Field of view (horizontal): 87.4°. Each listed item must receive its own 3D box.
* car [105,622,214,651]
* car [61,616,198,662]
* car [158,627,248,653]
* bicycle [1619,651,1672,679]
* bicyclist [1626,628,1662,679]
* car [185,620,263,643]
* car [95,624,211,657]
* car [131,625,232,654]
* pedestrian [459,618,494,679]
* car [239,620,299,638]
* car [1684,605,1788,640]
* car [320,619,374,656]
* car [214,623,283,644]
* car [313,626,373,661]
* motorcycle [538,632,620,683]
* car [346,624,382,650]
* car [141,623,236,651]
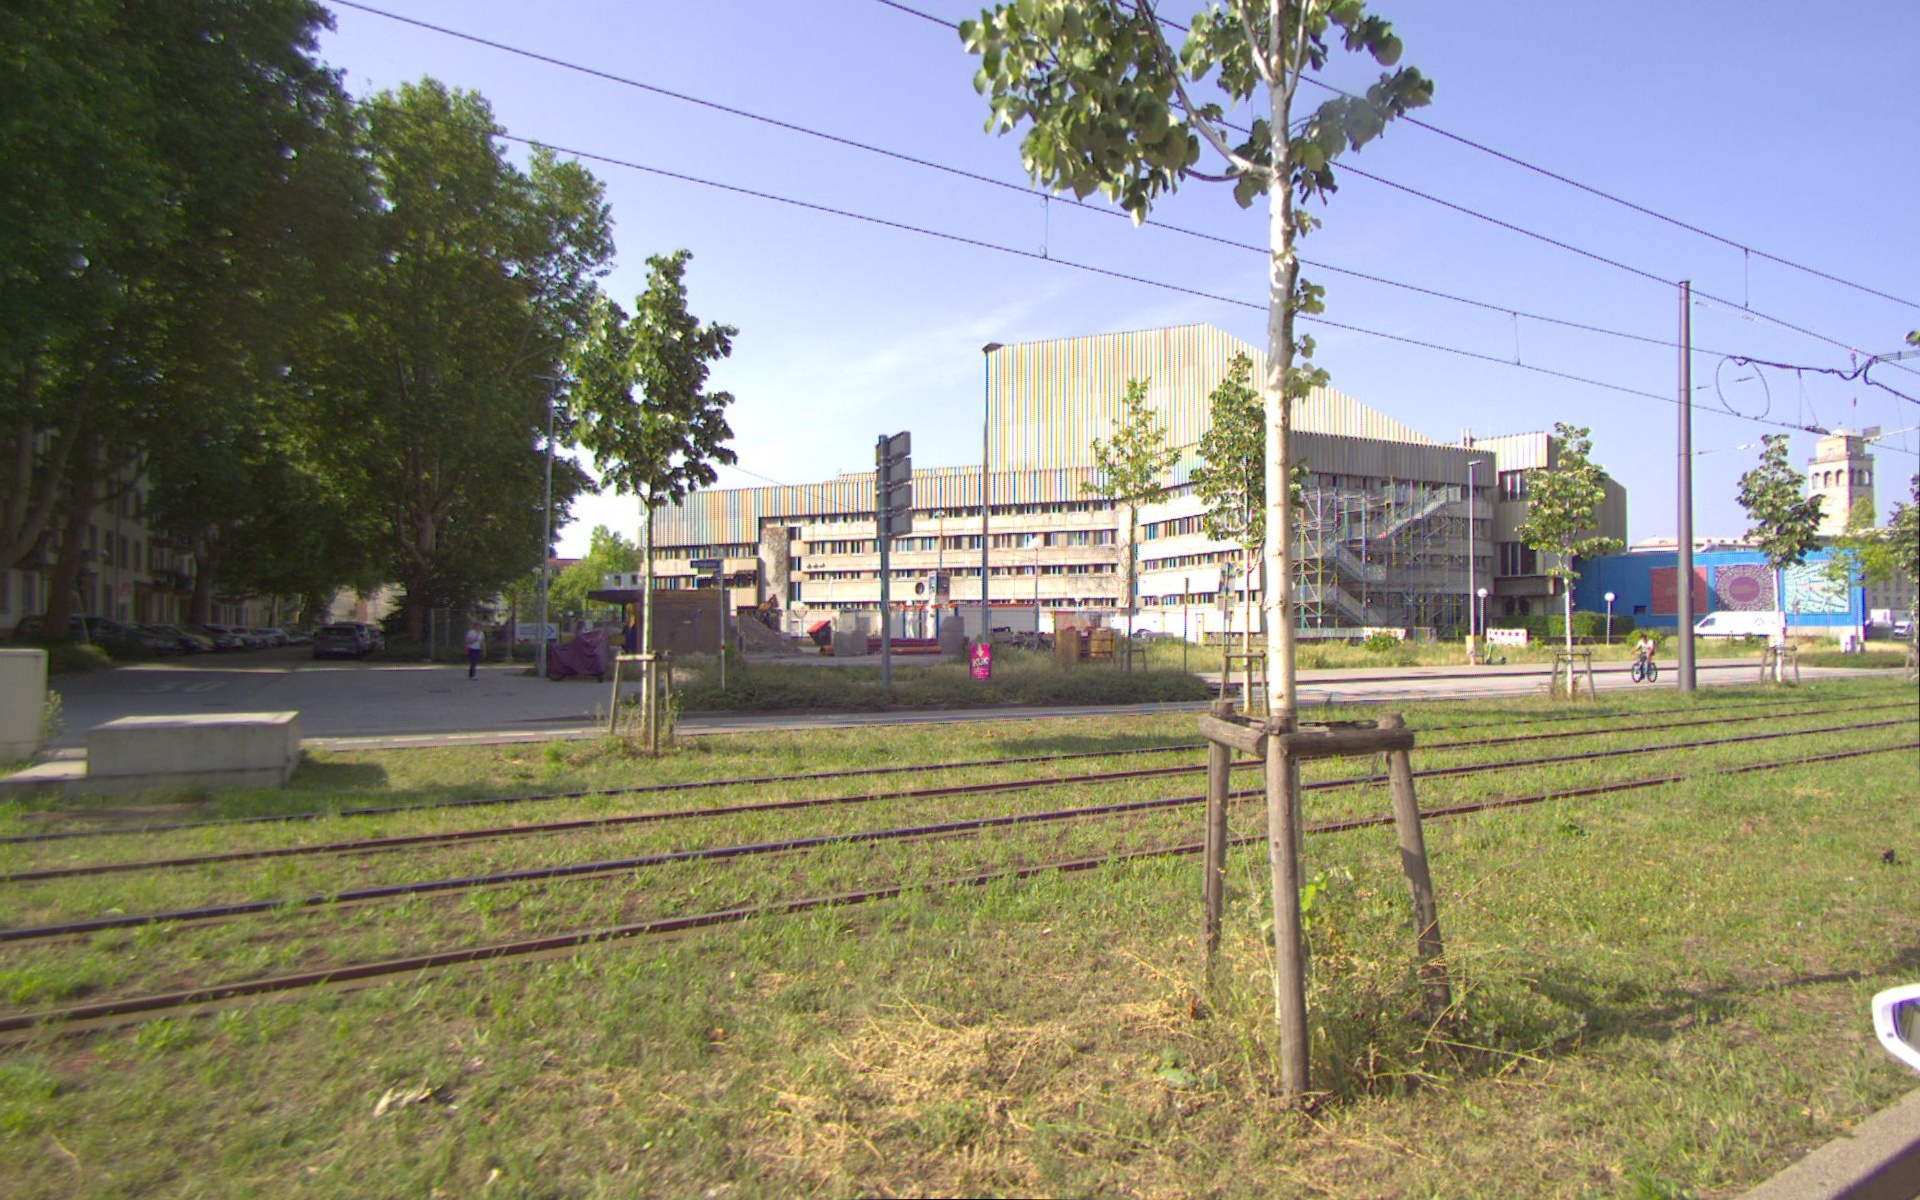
[{"bbox_3d":[-39.727,1.787,49.975,3.953,1.394,1.886,1,-2,-30],"label":"car"},{"bbox_3d":[-33.473,1.553,40.645,3.953,1.773,1.984,1,-2,-30],"label":"car"},{"bbox_3d":[-44.296,2.313,58.911,3.953,1.483,1.984,1,-2,-30],"label":"car"},{"bbox_3d":[23.883,2.252,34.986,2.054,0.973,0.659,2,-3,-30],"label":"bicycle"},{"bbox_3d":[23.814,1.856,34.973,0.908,1.758,0.644,1,-3,-30],"label":"bicyclist"},{"bbox_3d":[-49.070,2.107,67.071,3.953,1.483,1.984,1,-2,-30],"label":"car"},{"bbox_3d":[-37.575,1.875,46.916,3.953,1.483,1.861,1,-2,-30],"label":"car"},{"bbox_3d":[-41.016,2.074,53.029,3.953,1.483,1.984,1,-2,-30],"label":"car"},{"bbox_3d":[-13.785,1.369,28.630,0.727,1.699,0.673,-1,-2,45],"label":"pedestrian"},{"bbox_3d":[-57.807,2.435,84.098,3.953,1.483,1.984,1,-2,-30],"label":"car"},{"bbox_3d":[65.383,1.891,84.743,6.793,2.674,2.502,2,0,40],"label":"car"},{"bbox_3d":[-28.595,1.735,46.970,1.976,1.628,3.969,1,-2,-29],"label":"car"},{"bbox_3d":[-52.442,2.445,74.084,3.953,1.483,1.984,1,-2,-30],"label":"car"},{"bbox_3d":[-26.050,1.812,42.506,1.976,1.394,3.969,1,-2,-29],"label":"car"},{"bbox_3d":[-10.828,1.619,28.516,2.253,1.387,0.818,-1,-2,24],"label":"motorcycle"},{"bbox_3d":[-36.097,2.209,60.895,1.724,1.496,3.969,1,-2,-29],"label":"car"},{"bbox_3d":[-42.915,2.058,55.990,3.953,1.483,1.984,1,-2,-30],"label":"car"}]
